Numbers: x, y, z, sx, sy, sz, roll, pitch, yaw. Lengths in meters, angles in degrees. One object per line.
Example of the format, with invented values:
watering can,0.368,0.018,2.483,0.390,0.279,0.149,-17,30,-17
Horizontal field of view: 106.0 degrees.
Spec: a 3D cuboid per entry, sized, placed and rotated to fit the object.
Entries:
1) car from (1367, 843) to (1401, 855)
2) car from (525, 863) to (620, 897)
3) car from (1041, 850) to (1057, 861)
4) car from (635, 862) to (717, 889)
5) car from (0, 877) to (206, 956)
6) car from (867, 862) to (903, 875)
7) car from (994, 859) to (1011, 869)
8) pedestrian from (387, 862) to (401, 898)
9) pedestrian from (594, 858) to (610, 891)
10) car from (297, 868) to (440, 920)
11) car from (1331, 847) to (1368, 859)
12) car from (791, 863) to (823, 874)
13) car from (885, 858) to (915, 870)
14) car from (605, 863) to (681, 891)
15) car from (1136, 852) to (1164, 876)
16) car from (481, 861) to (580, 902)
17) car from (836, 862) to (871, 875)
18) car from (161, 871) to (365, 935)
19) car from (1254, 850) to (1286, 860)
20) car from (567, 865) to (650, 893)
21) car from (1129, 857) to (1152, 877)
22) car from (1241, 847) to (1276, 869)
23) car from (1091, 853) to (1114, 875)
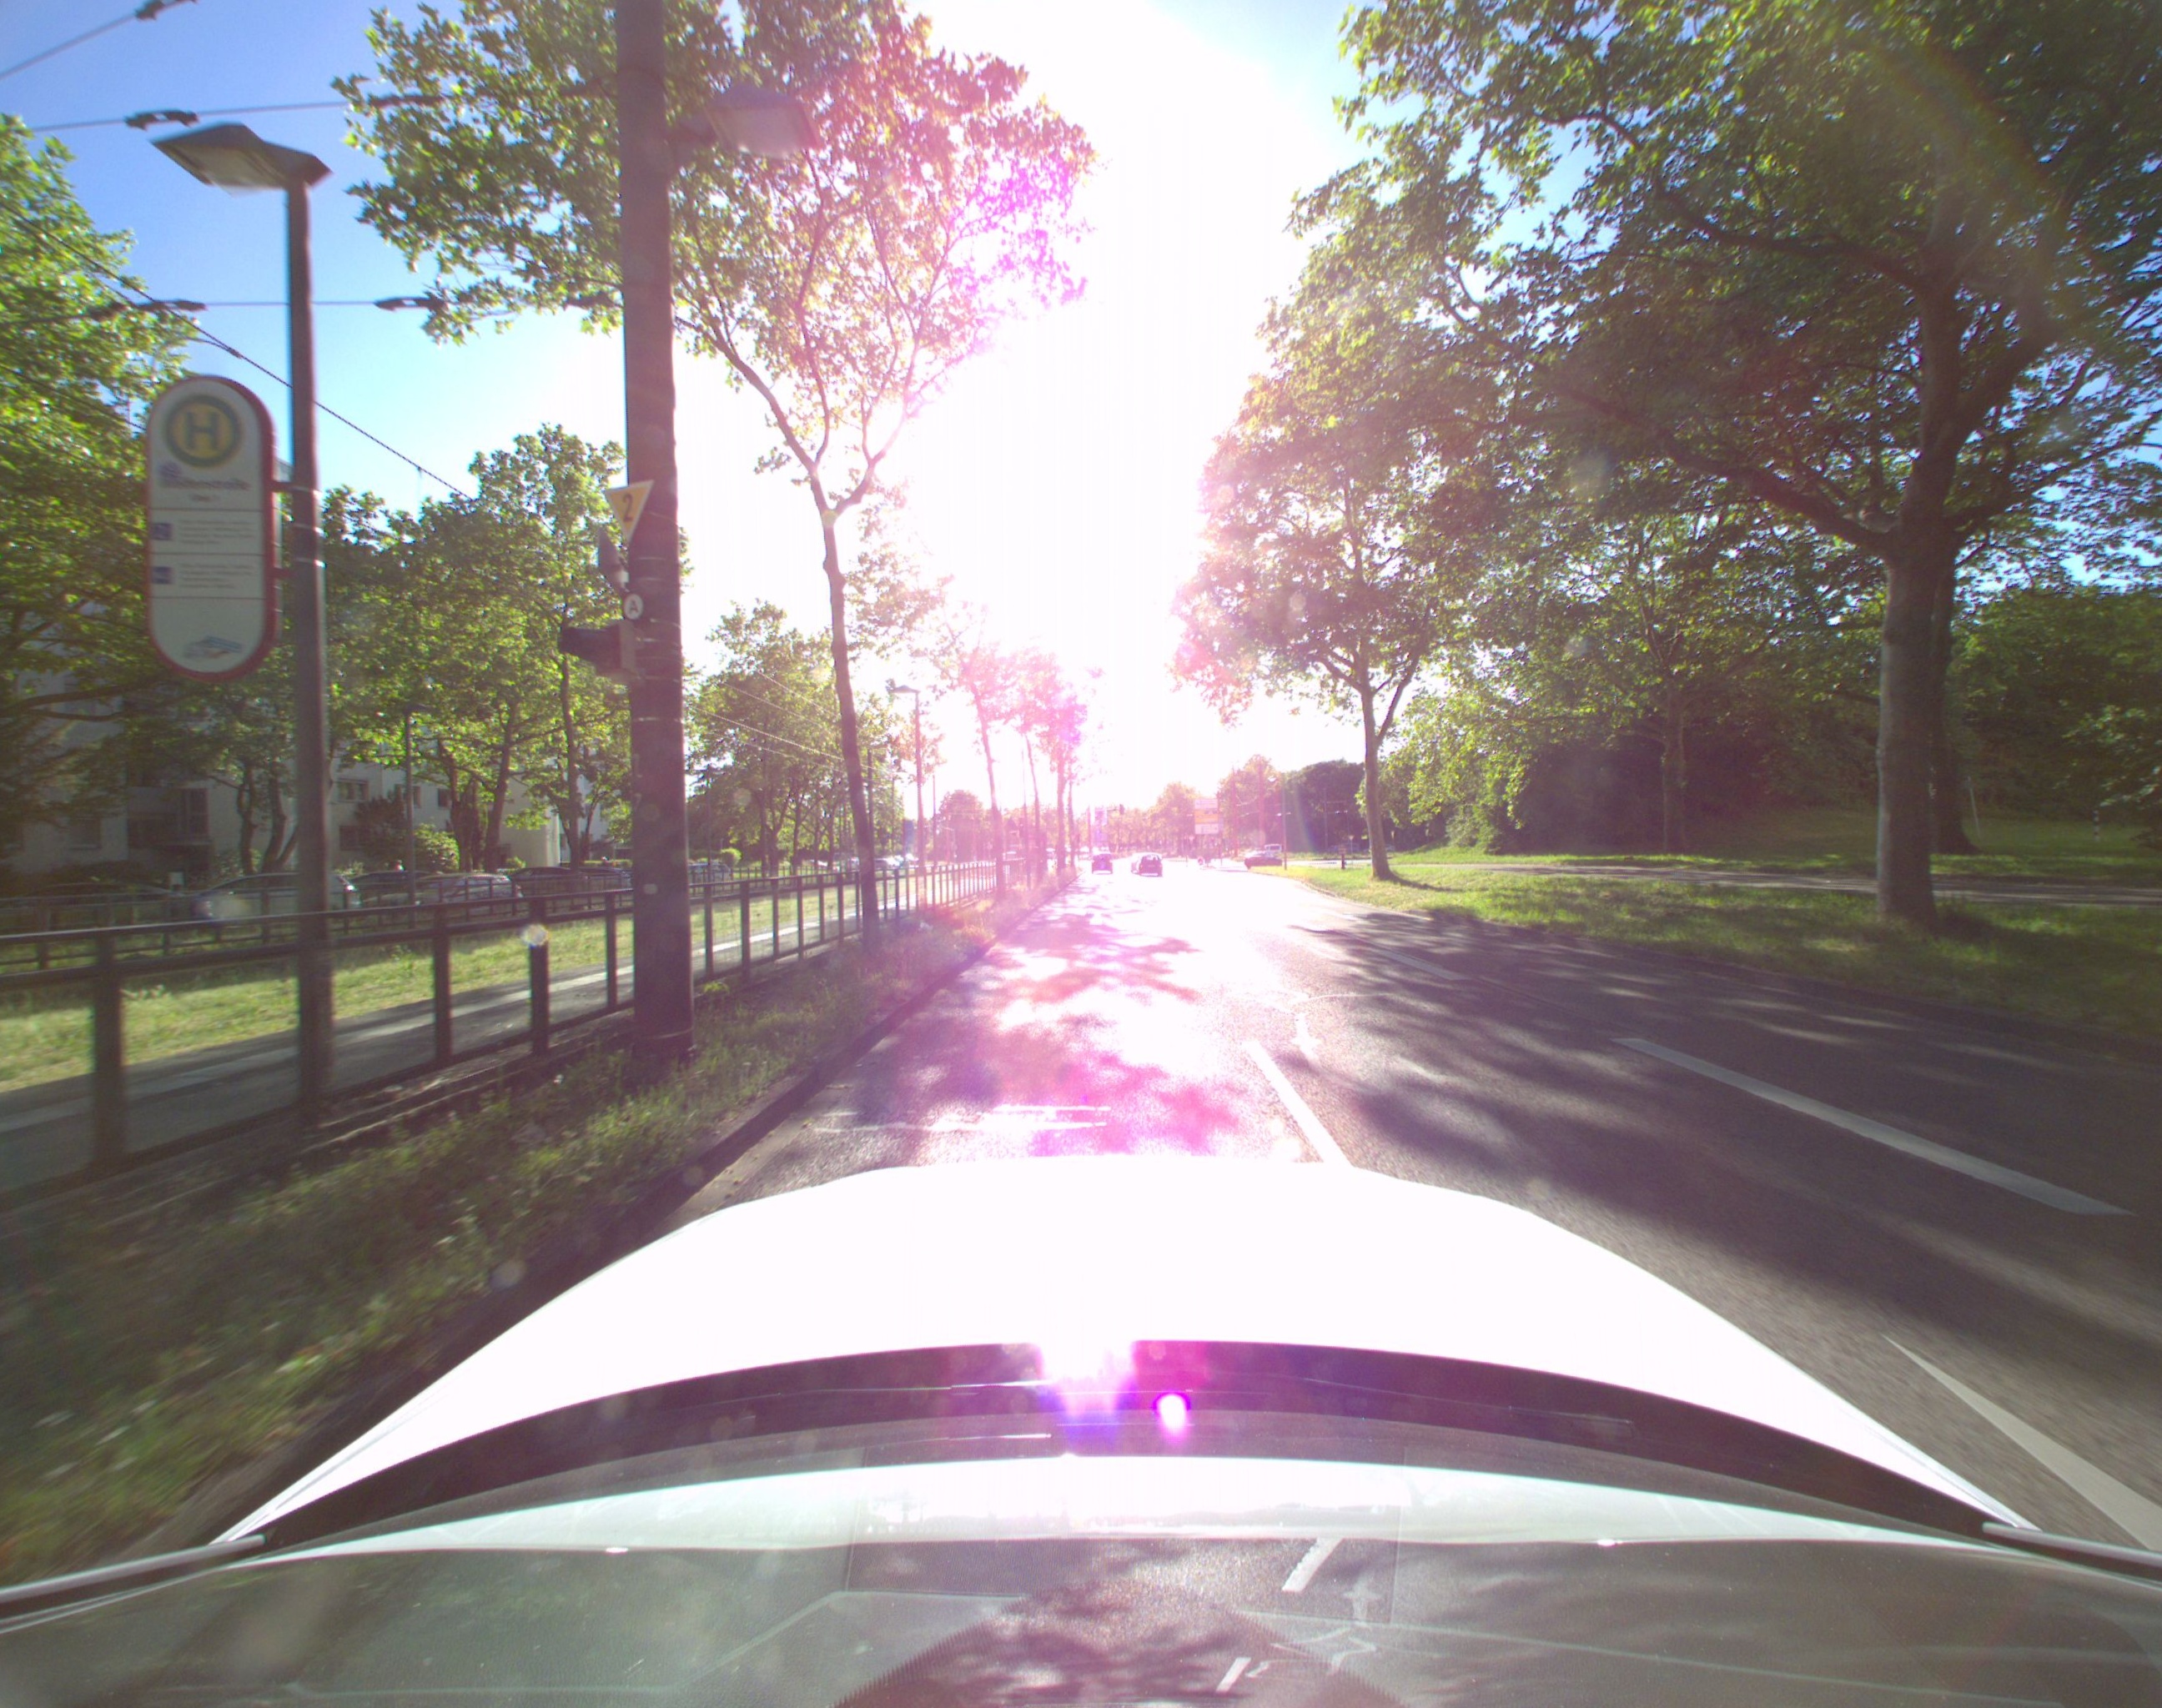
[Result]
car,39.884,-0.613,107.279,3.949,1.495,1.872,0,-1,28
car,-23.098,1.134,37.036,1.521,1.426,3.404,-1,0,44
car,-5.714,0.260,145.412,1.812,1.780,4.580,0,0,10
car,-23.271,1.201,46.891,3.942,1.476,1.612,0,-1,-42
car,-23.446,1.415,18.934,1.626,1.544,4.201,0,1,43
car,-27.445,2.051,113.863,4.448,1.610,1.910,-2,2,20
car,-11.311,1.442,117.440,1.623,1.449,3.725,0,0,7
pedestrian,-34.820,1.327,41.263,0.317,1.792,0.449,-1,0,-5
pedestrian,-26.260,1.128,44.657,0.474,1.792,0.717,0,-1,0
car,-23.701,1.289,27.255,3.396,1.509,1.450,-1,1,-32
car,35.081,-0.149,106.387,4.311,1.559,1.883,0,-1,26
car,-39.989,2.134,118.843,4.001,1.436,1.825,-2,2,20
car,-27.419,1.501,123.356,3.953,1.621,1.910,-1,0,20
car,-23.375,1.194,43.516,3.304,1.431,1.552,0,0,-41
car,4.689,0.652,55.464,1.633,1.494,3.503,0,1,0
car,-22.916,1.122,33.952,1.447,1.547,3.157,0,1,44
car,-32.546,2.067,116.584,4.448,1.611,1.910,-2,0,20
car,-23.402,1.342,23.535,4.014,1.544,1.627,-1,1,-40
car,25.846,0.096,111.296,3.950,1.338,1.739,0,0,27
car,-23.413,1.212,40.397,3.401,1.253,1.448,0,-1,-39
car,4.529,0.957,62.574,1.672,1.475,4.133,0,0,2
car,15.393,0.366,70.457,1.964,1.792,4.641,0,0,25
car,1.607,0.774,62.102,1.704,1.603,3.350,-1,0,0
